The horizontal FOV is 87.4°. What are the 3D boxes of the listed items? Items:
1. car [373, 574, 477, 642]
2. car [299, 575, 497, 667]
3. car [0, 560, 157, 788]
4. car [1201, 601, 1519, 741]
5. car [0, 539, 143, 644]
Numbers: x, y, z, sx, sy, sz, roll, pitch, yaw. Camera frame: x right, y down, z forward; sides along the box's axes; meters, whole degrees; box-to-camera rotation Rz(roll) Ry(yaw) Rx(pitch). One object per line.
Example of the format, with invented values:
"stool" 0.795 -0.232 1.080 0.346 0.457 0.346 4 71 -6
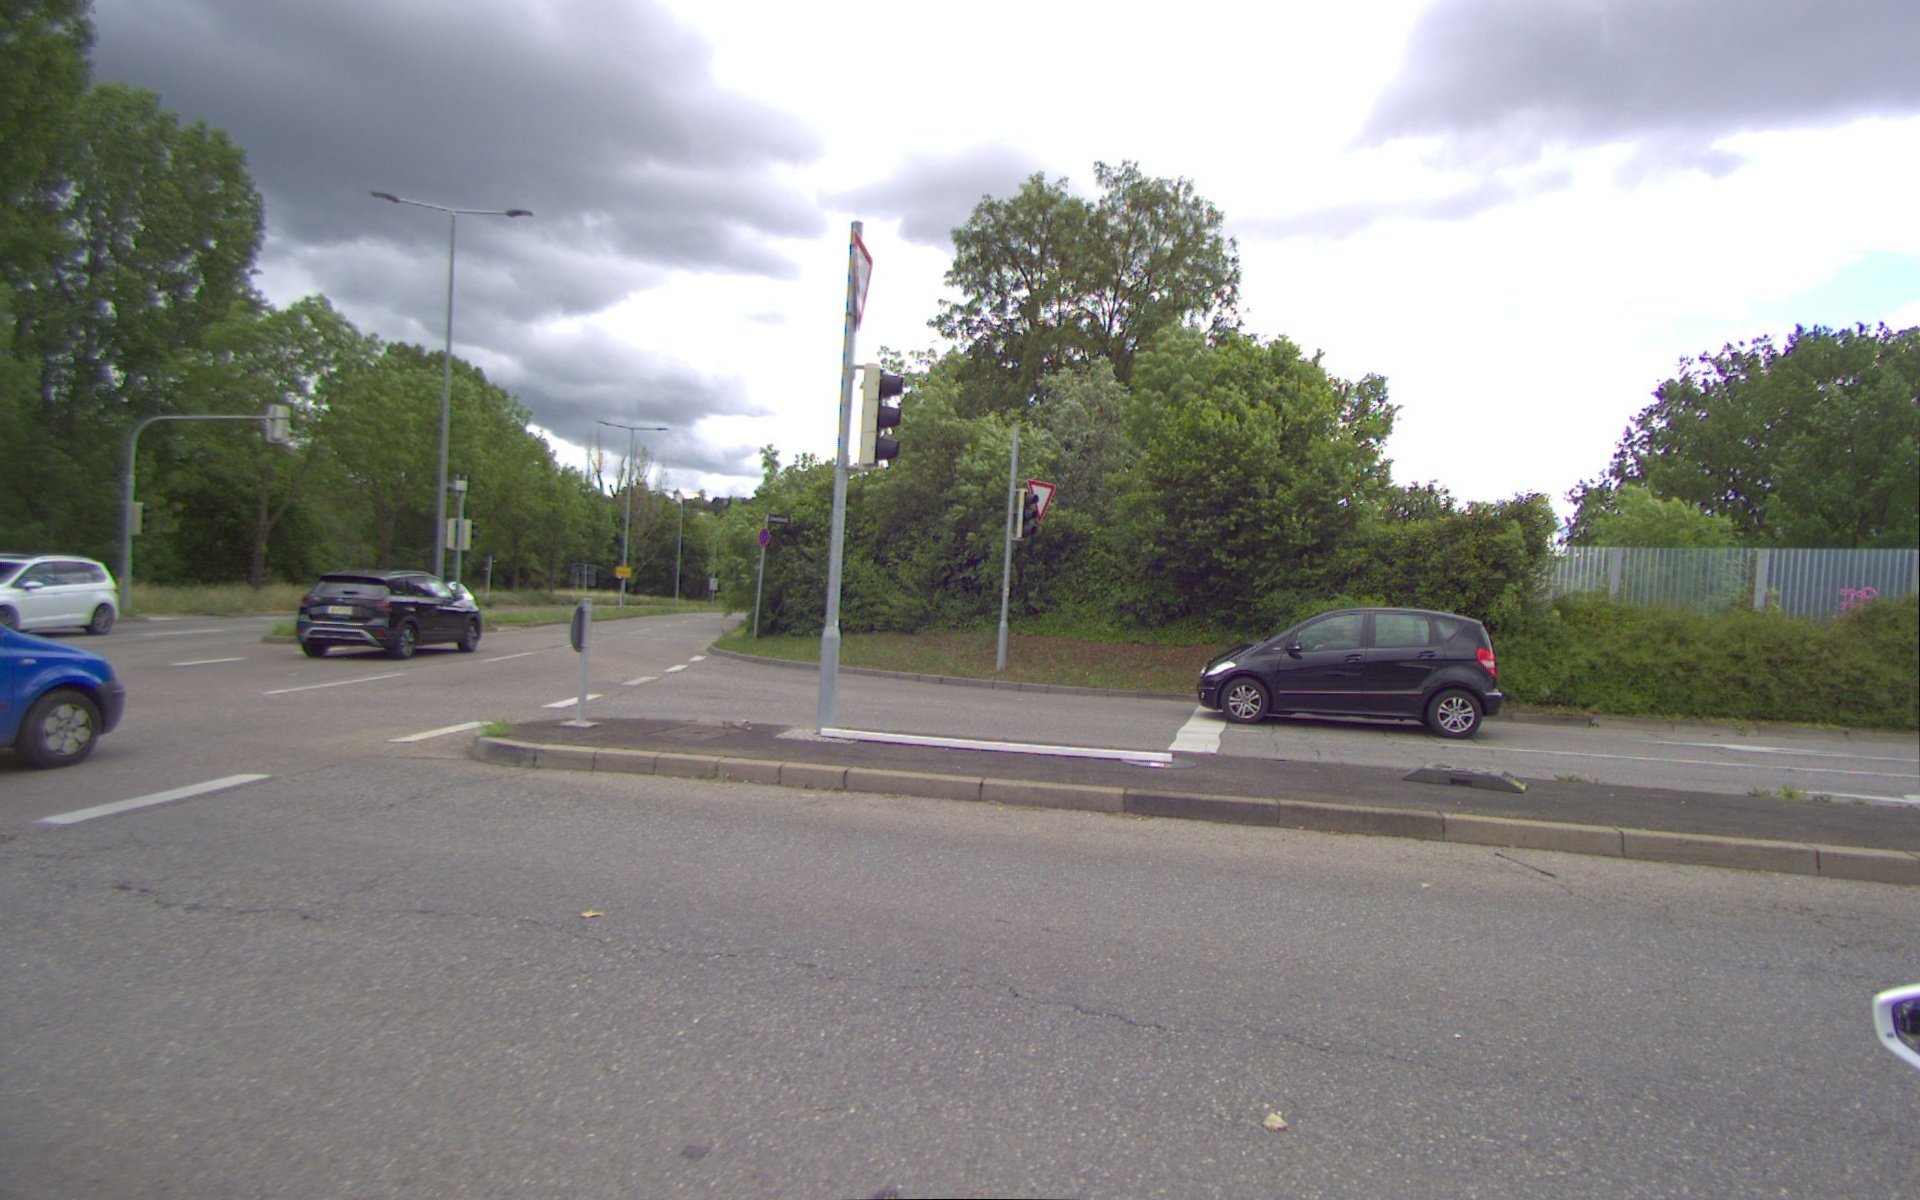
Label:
"car" -18.992 0.226 35.865 1.901 2.021 4.313 4 3 -10
"car" -10.402 0.335 18.927 1.629 1.527 3.769 1 1 0
"car" -7.231 0.473 6.227 1.517 1.527 3.382 2 0 8
"car" 5.200 0.890 13.469 3.713 1.572 1.644 2 -2 17
"car" -19.081 -0.259 20.296 2.046 1.783 4.314 4 3 -9
